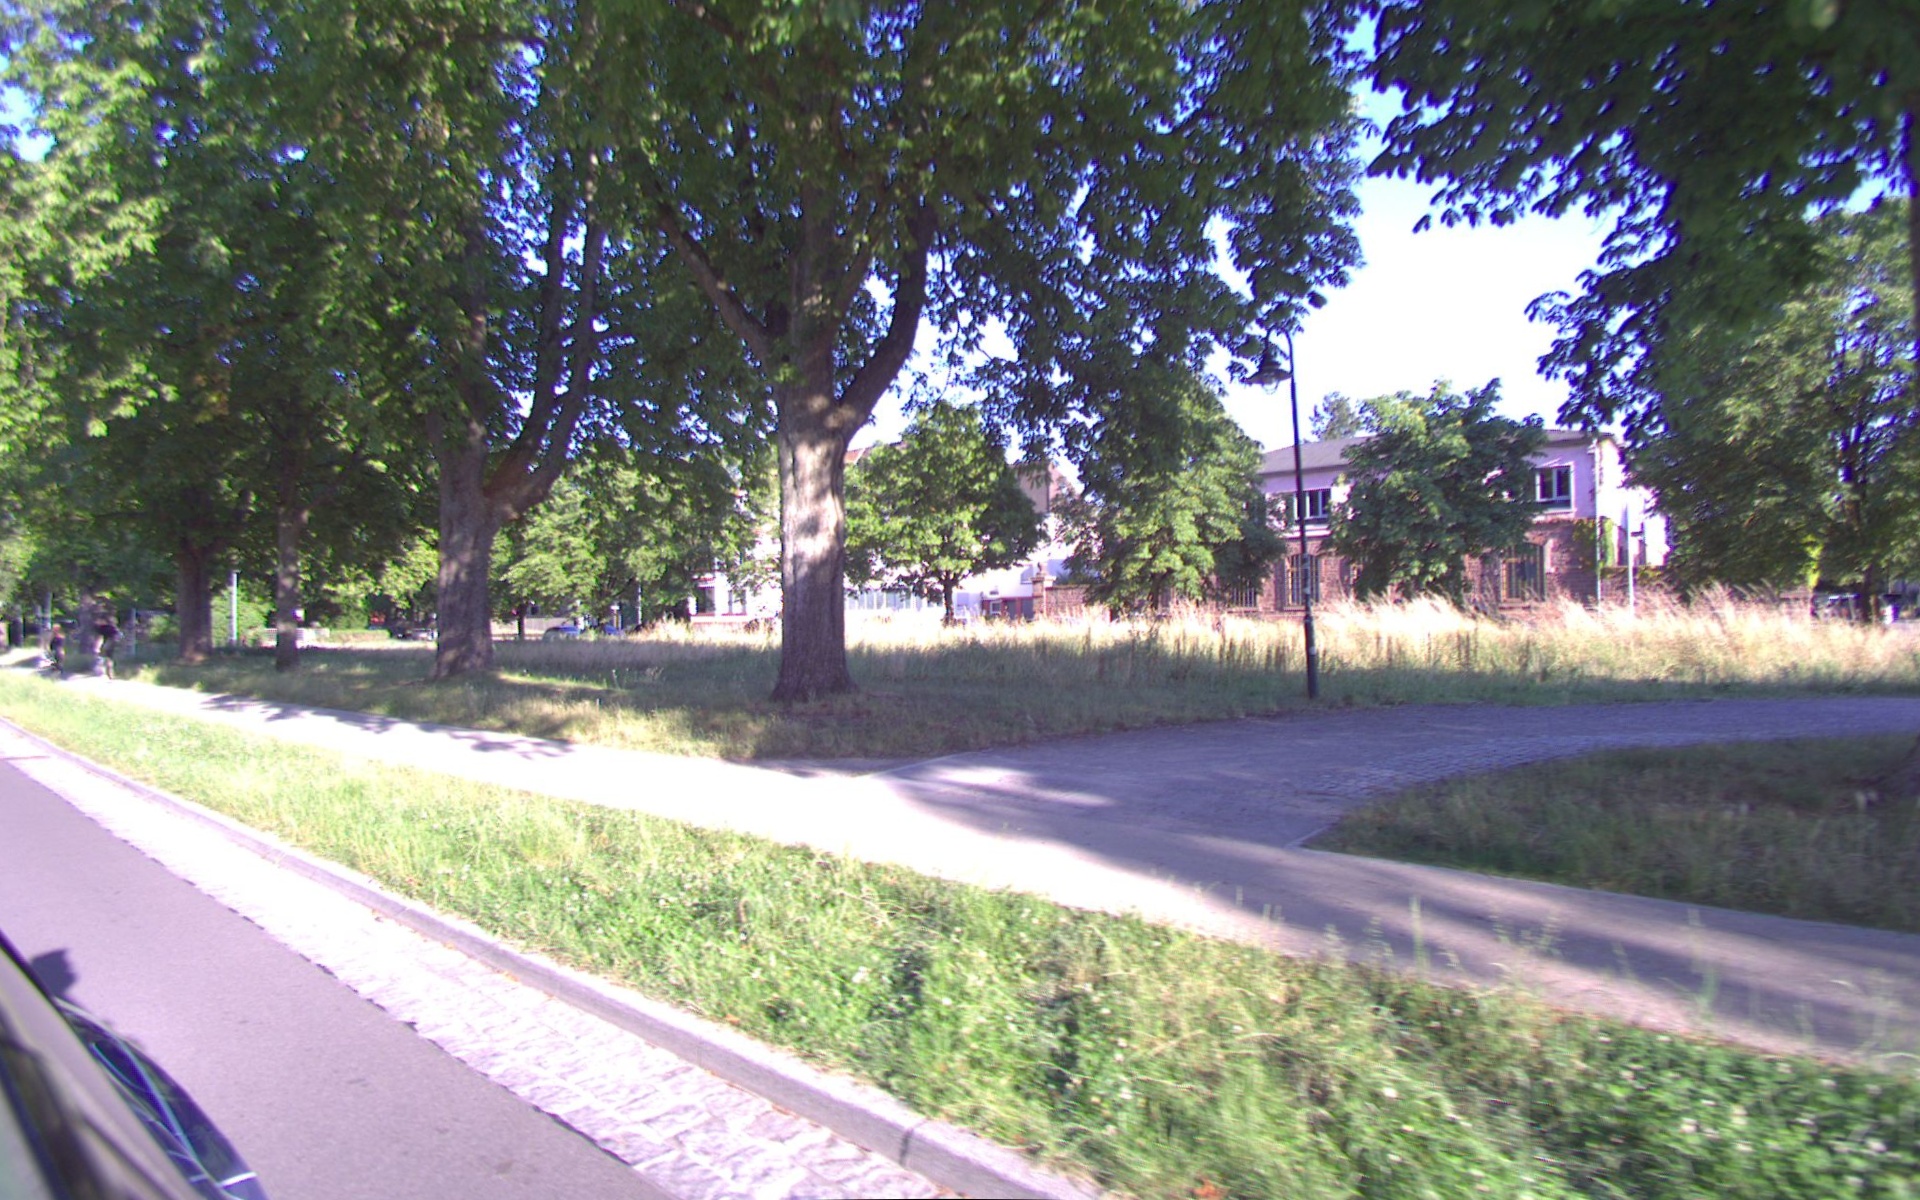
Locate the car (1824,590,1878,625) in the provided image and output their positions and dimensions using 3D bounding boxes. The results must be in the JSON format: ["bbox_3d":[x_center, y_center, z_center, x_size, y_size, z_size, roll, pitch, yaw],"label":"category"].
[{"bbox_3d":[36.663,0.292,41.621,1.586,1.290,3.589,-1,0,42],"label":"car"}]

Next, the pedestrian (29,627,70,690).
[{"bbox_3d":[-24.286,1.549,27.004,0.616,1.643,0.607,-2,0,-23],"label":"pedestrian"}]

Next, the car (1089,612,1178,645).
[{"bbox_3d":[8.209,1.350,48.094,3.793,1.490,1.744,-1,0,41],"label":"car"}]

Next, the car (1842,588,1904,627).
[{"bbox_3d":[33.176,0.266,36.803,1.586,1.290,3.589,-1,0,42],"label":"car"}]

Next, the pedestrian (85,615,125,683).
[{"bbox_3d":[-23.866,1.361,28.255,0.616,1.865,0.606,-2,0,-10],"label":"pedestrian"}]

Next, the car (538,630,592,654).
[{"bbox_3d":[-28.955,3.066,74.153,4.424,1.641,1.849,-2,-1,41],"label":"car"}]

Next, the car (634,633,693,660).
[{"bbox_3d":[-19.163,2.992,65.380,3.998,1.641,1.744,-2,-1,41],"label":"car"}]

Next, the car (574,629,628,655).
[{"bbox_3d":[-25.095,2.934,70.692,3.998,1.641,1.744,-2,-1,41],"label":"car"}]
